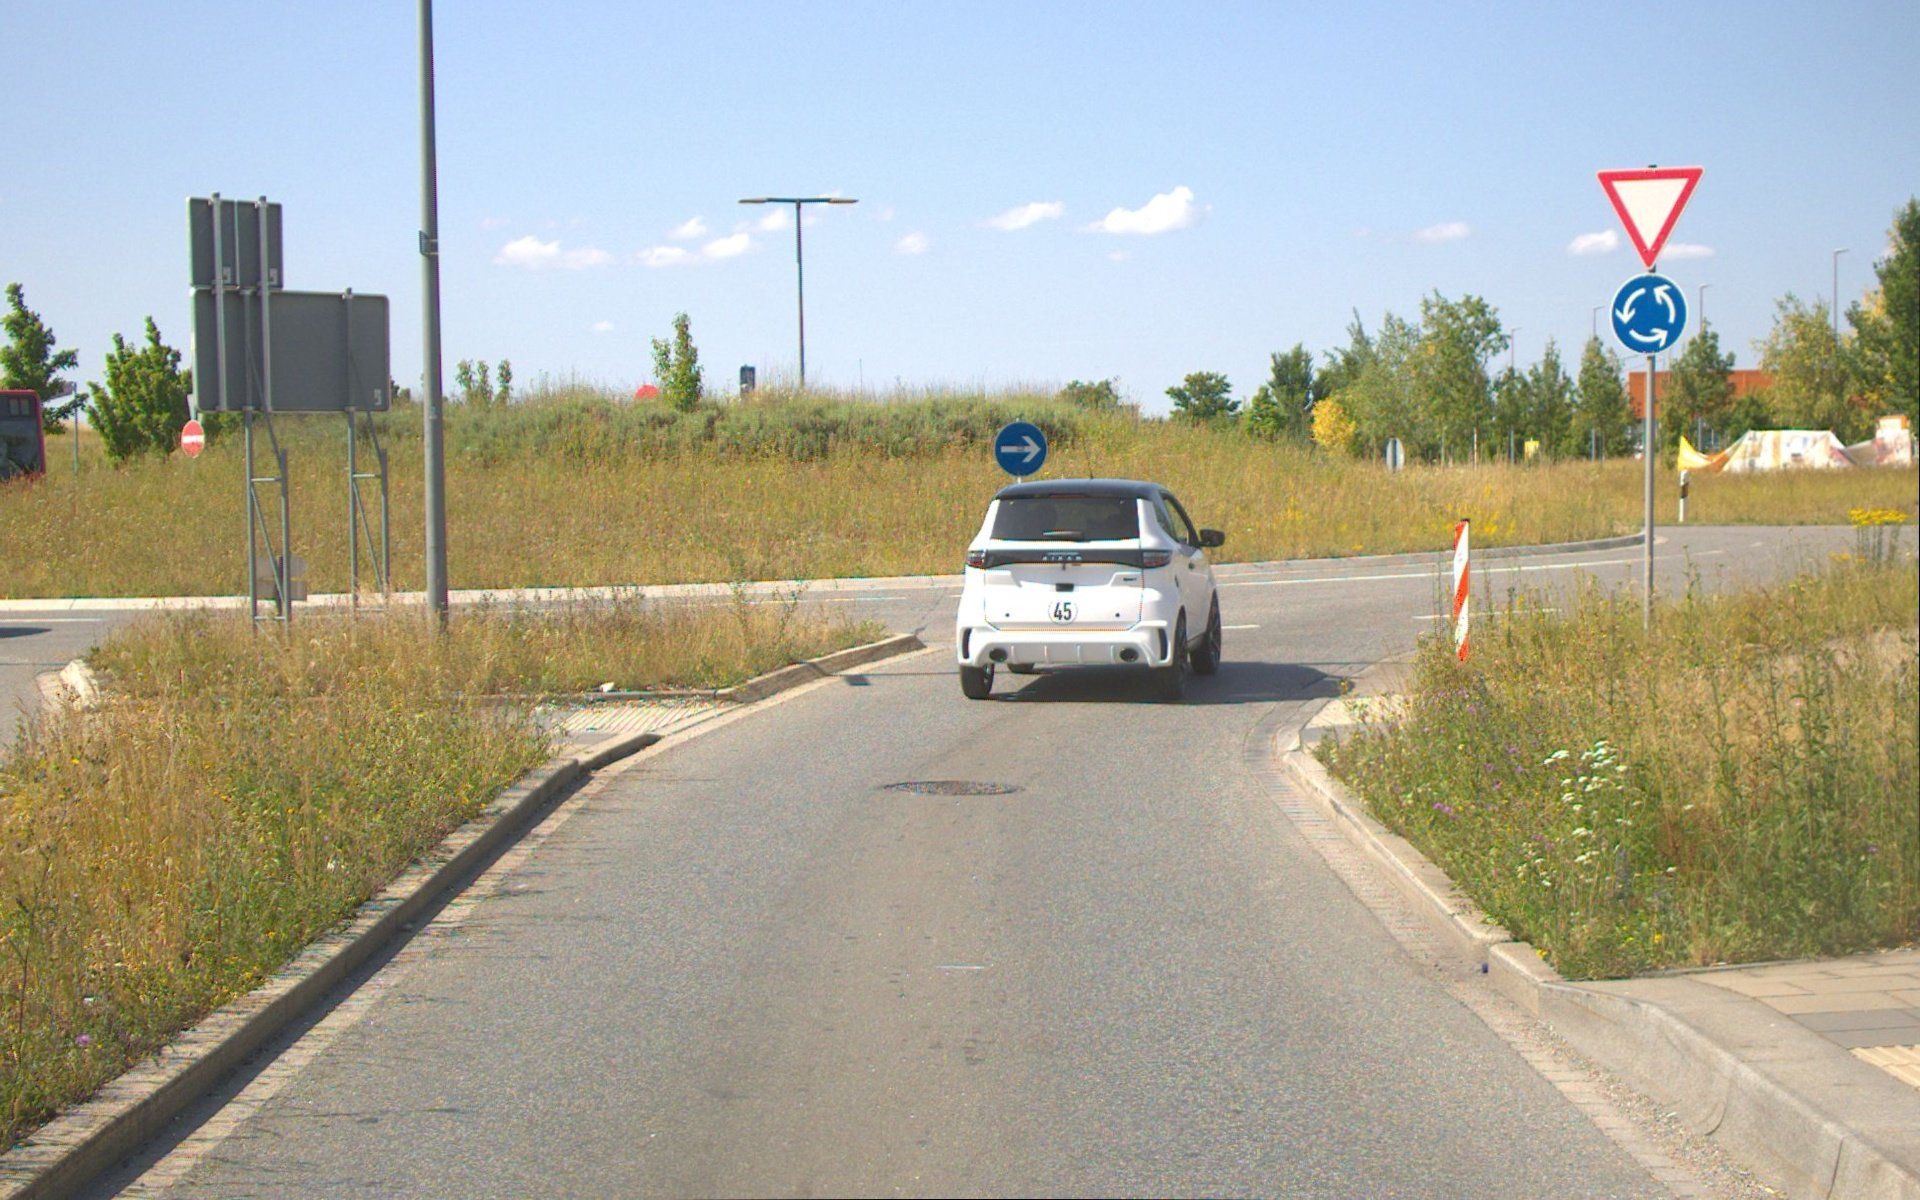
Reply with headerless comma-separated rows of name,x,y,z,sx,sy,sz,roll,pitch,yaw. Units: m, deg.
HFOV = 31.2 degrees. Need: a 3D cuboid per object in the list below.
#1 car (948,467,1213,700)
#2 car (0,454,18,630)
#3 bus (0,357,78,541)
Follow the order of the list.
car,0.925,-0.177,24.442,1.617,1.429,3.792,0,3,6
car,-11.274,-0.523,32.040,4.615,1.620,1.961,1,4,25
bus,-18.999,-2.247,54.308,2.790,3.068,12.190,-1,3,24
